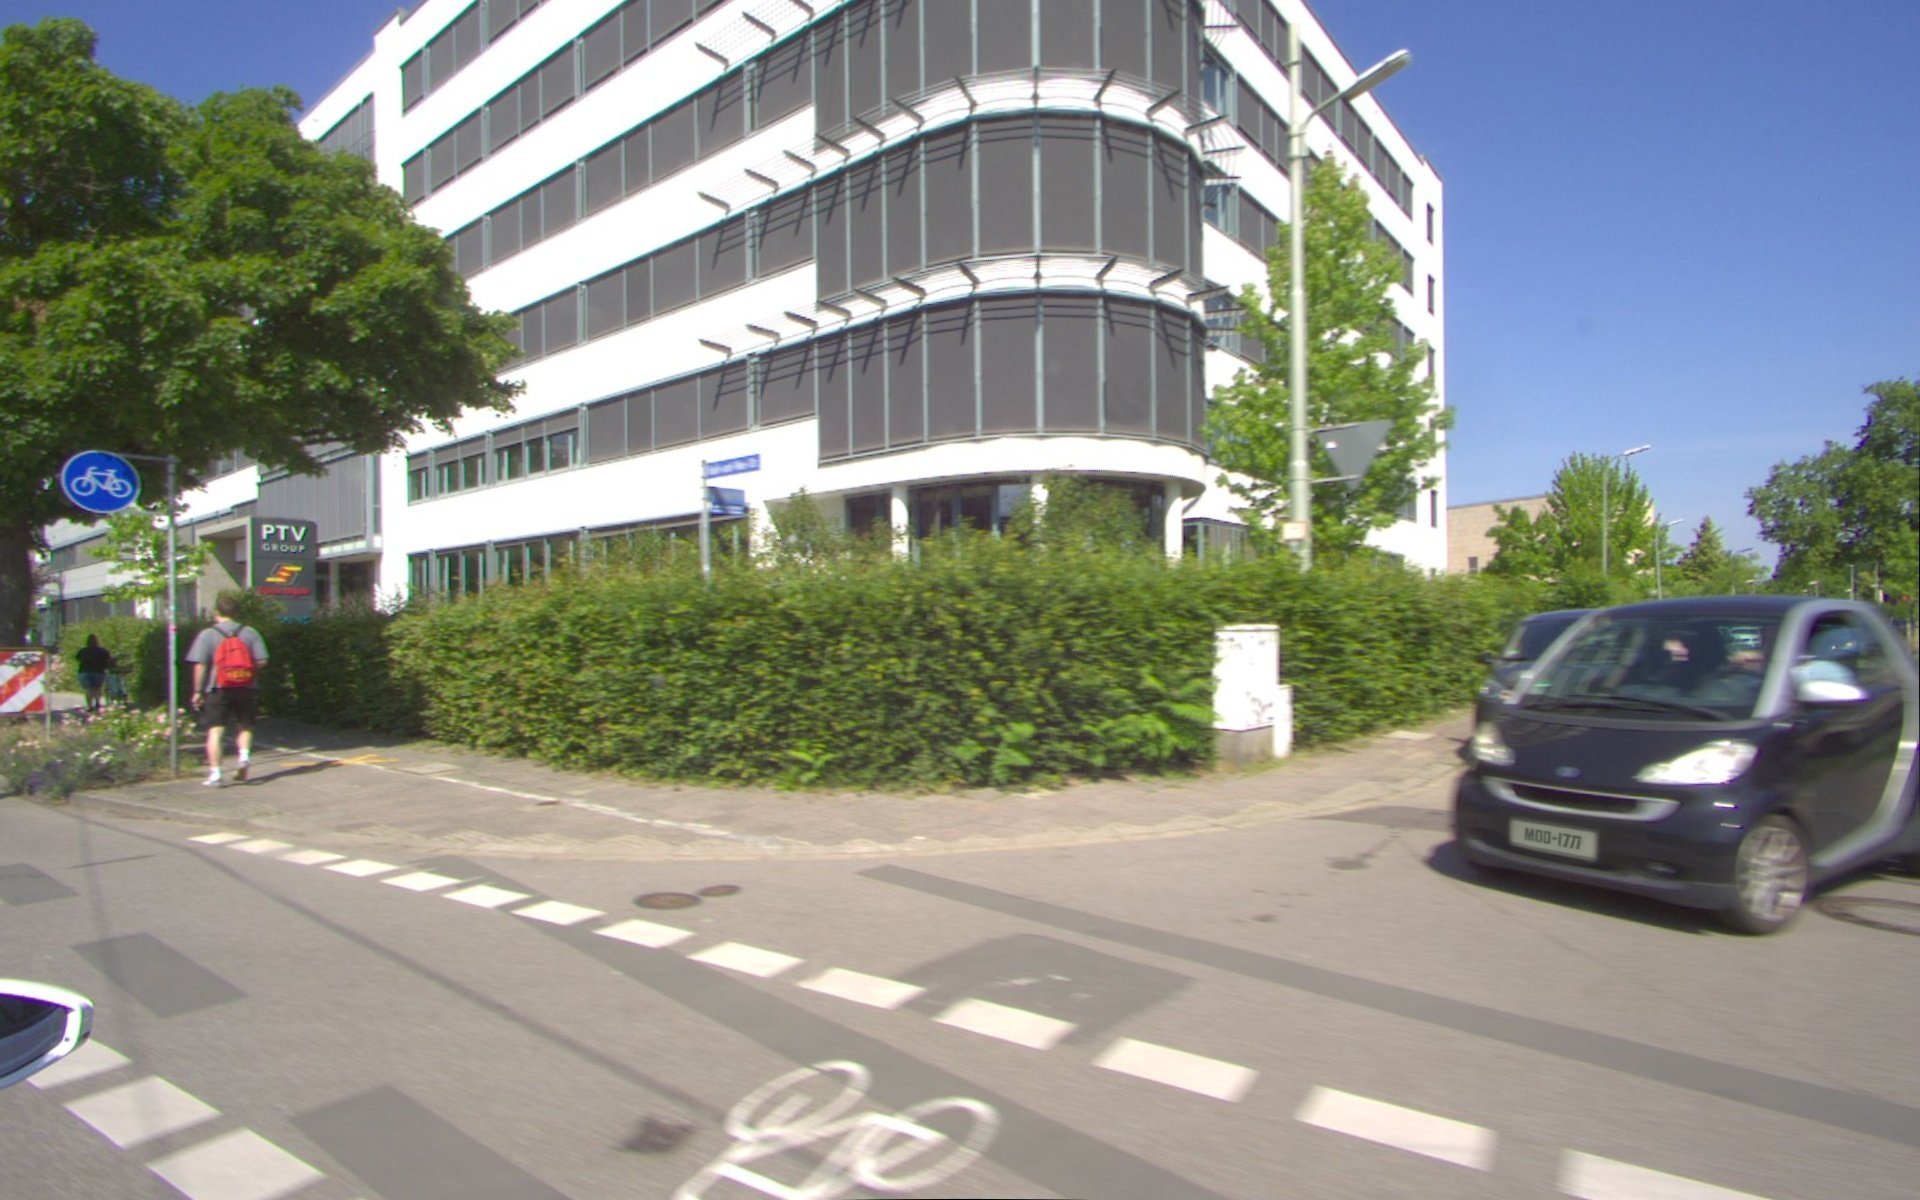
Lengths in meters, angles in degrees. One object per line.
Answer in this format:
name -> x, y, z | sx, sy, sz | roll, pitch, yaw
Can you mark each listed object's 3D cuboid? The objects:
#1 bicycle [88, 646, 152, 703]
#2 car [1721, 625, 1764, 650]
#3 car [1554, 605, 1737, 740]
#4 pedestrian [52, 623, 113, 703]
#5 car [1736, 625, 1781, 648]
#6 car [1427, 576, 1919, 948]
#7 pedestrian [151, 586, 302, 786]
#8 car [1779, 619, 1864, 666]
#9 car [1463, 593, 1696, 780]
bicycle -> -17.561, 1.534, 20.920 | 2.042, 1.132, 0.633 | -2, -2, 39
car -> 48.819, 2.332, 62.431 | 1.914, 1.468, 3.797 | -2, -2, 41
car -> 9.412, 0.887, 13.643 | 1.792, 1.538, 4.141 | -1, -2, 37
pedestrian -> -17.911, 1.271, 20.435 | 0.975, 1.584, 0.684 | -1, 0, 35
car -> 53.678, 2.449, 67.298 | 3.792, 1.468, 1.917 | 1, -2, -45
car -> 4.209, 0.693, 5.549 | 2.932, 1.558, 1.473 | 0, -1, -28
pedestrian -> -7.246, 0.816, 9.904 | 1.058, 1.841, 0.887 | -1, -1, 33
car -> 28.757, 1.390, 33.522 | 1.911, 1.468, 3.803 | -1, -2, 37
car -> 6.458, 0.765, 10.261 | 1.684, 1.547, 3.671 | -1, -2, 37
